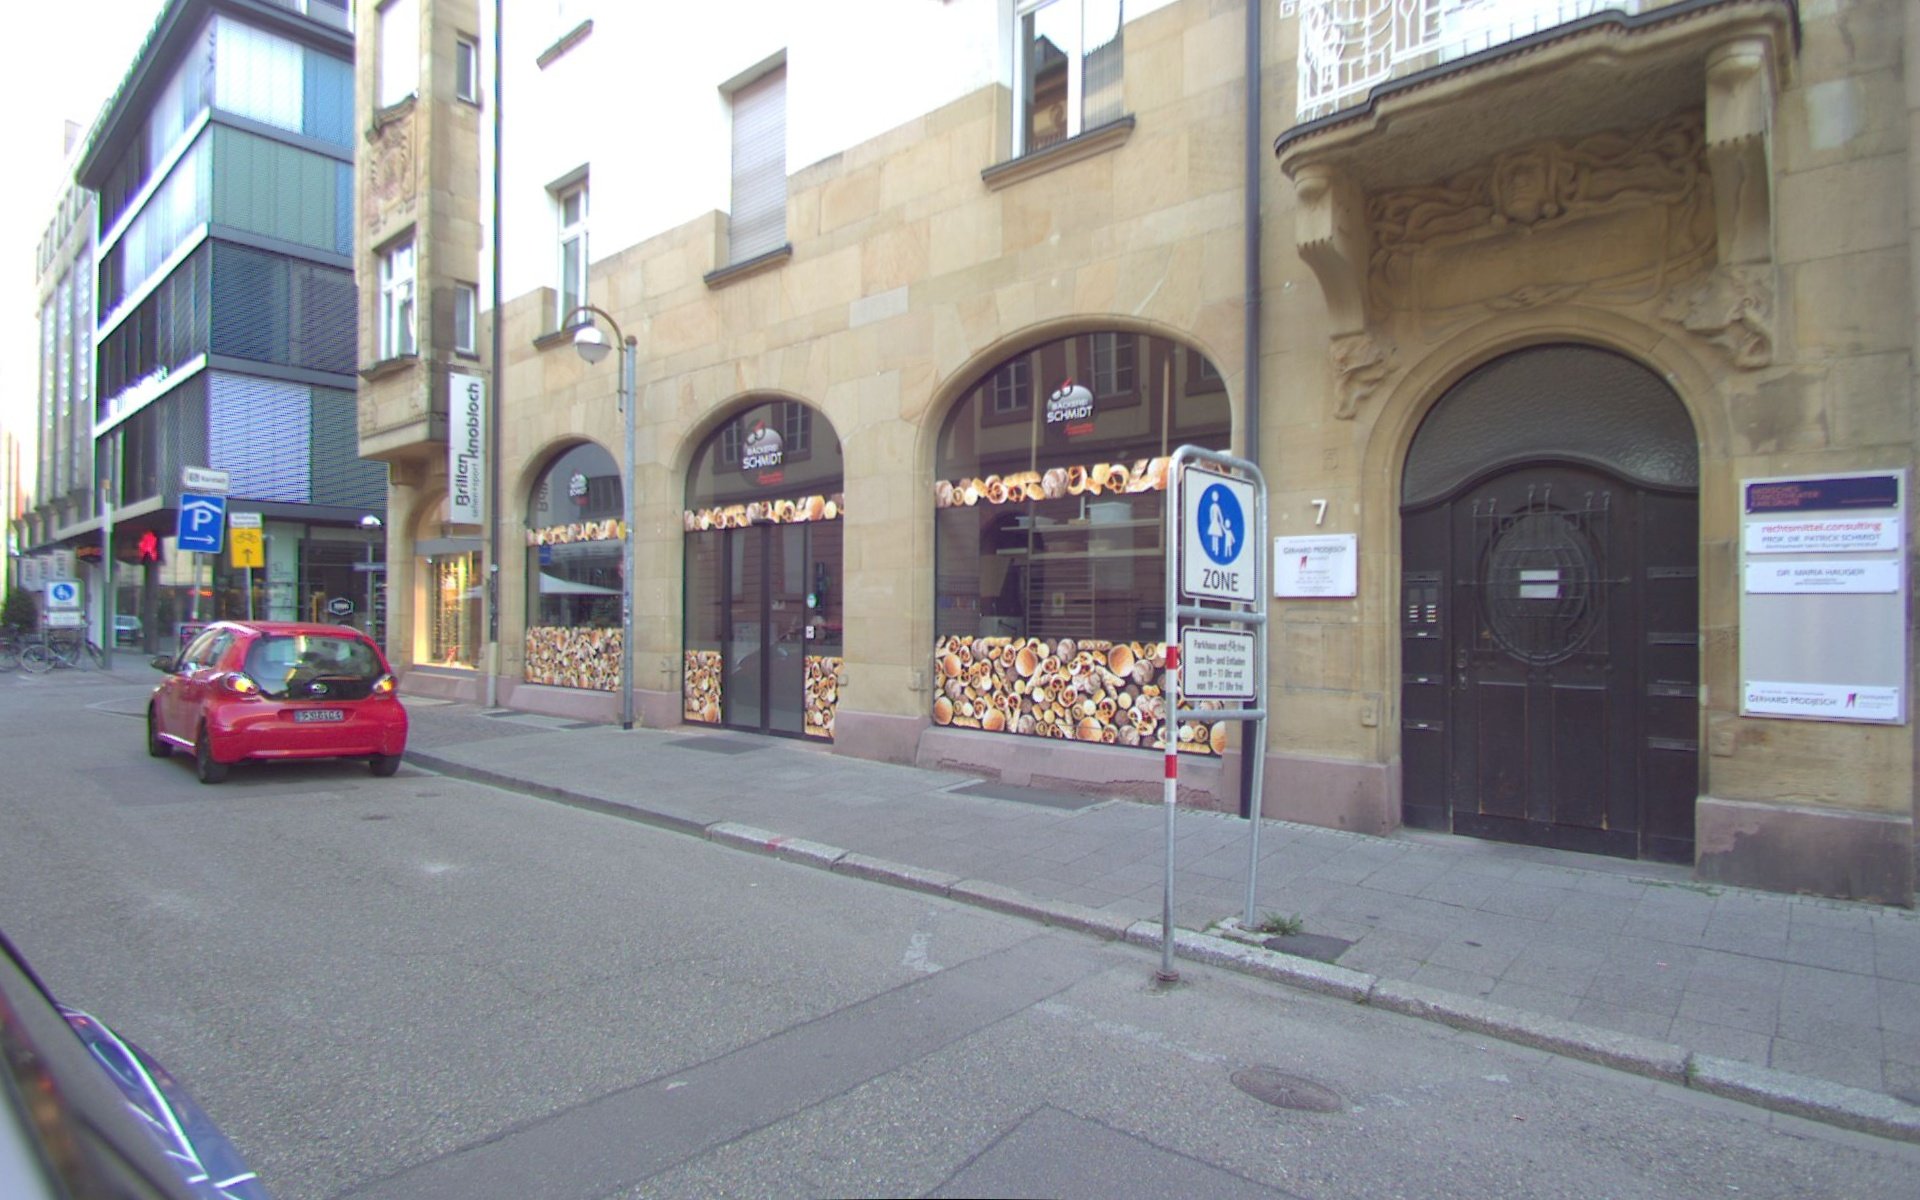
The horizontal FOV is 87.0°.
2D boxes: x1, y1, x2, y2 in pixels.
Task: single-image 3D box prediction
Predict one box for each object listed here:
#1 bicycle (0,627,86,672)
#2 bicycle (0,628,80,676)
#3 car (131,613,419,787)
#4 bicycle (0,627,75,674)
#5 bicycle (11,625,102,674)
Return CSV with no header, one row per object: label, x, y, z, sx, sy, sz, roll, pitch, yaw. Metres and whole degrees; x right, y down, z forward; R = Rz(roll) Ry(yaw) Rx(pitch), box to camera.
bicycle,-24.758,1.310,27.152,0.526,1.139,1.927,-1,-1,42
bicycle,-23.048,1.267,24.991,0.620,1.139,1.927,-1,-1,42
car,-6.926,0.918,10.150,3.156,1.452,1.615,-1,-5,42
bicycle,-23.711,1.275,25.611,0.620,1.139,1.927,-1,-1,42
bicycle,-21.710,1.171,24.330,0.620,1.127,1.586,-1,-1,42
